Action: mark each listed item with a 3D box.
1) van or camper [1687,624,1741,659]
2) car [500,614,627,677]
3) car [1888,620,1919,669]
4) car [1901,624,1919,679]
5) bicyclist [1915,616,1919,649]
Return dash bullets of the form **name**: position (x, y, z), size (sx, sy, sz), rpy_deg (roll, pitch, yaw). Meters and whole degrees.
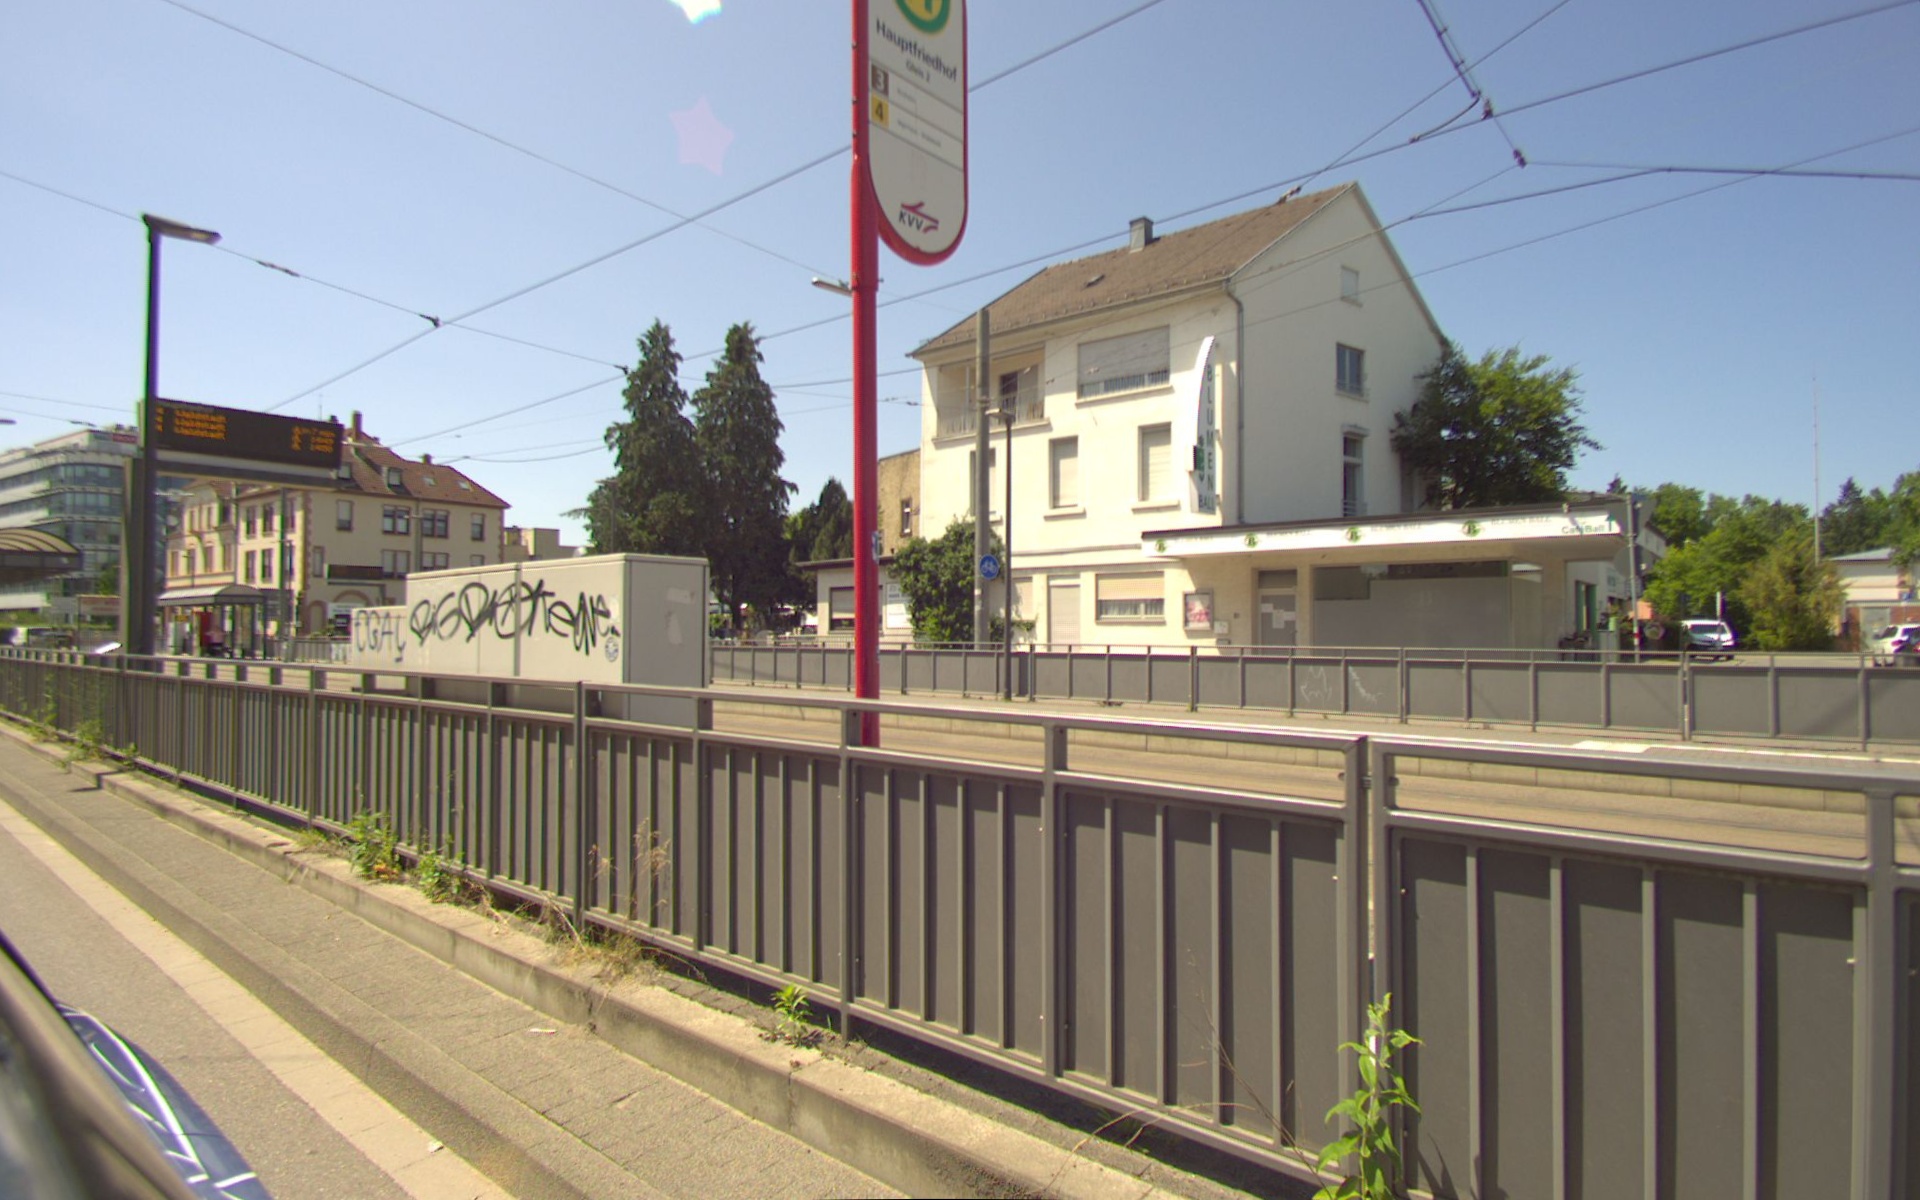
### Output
- **van or camper**: position (35.301, 1.939, 47.461), size (1.686, 1.578, 3.784), rpy_deg (-1, -2, 32)
- **car**: position (-12.356, 1.395, 31.489), size (3.996, 1.852, 1.974), rpy_deg (-2, -2, 39)
- **car**: position (29.848, 1.390, 31.216), size (1.644, 1.457, 3.761), rpy_deg (-2, -3, 41)
- **car**: position (25.818, 1.344, 26.465), size (1.644, 1.381, 3.760), rpy_deg (-2, -3, 42)
- **bicyclist**: position (43.365, 1.452, 45.355), size (0.618, 1.446, 0.525), rpy_deg (-1, -2, 23)
